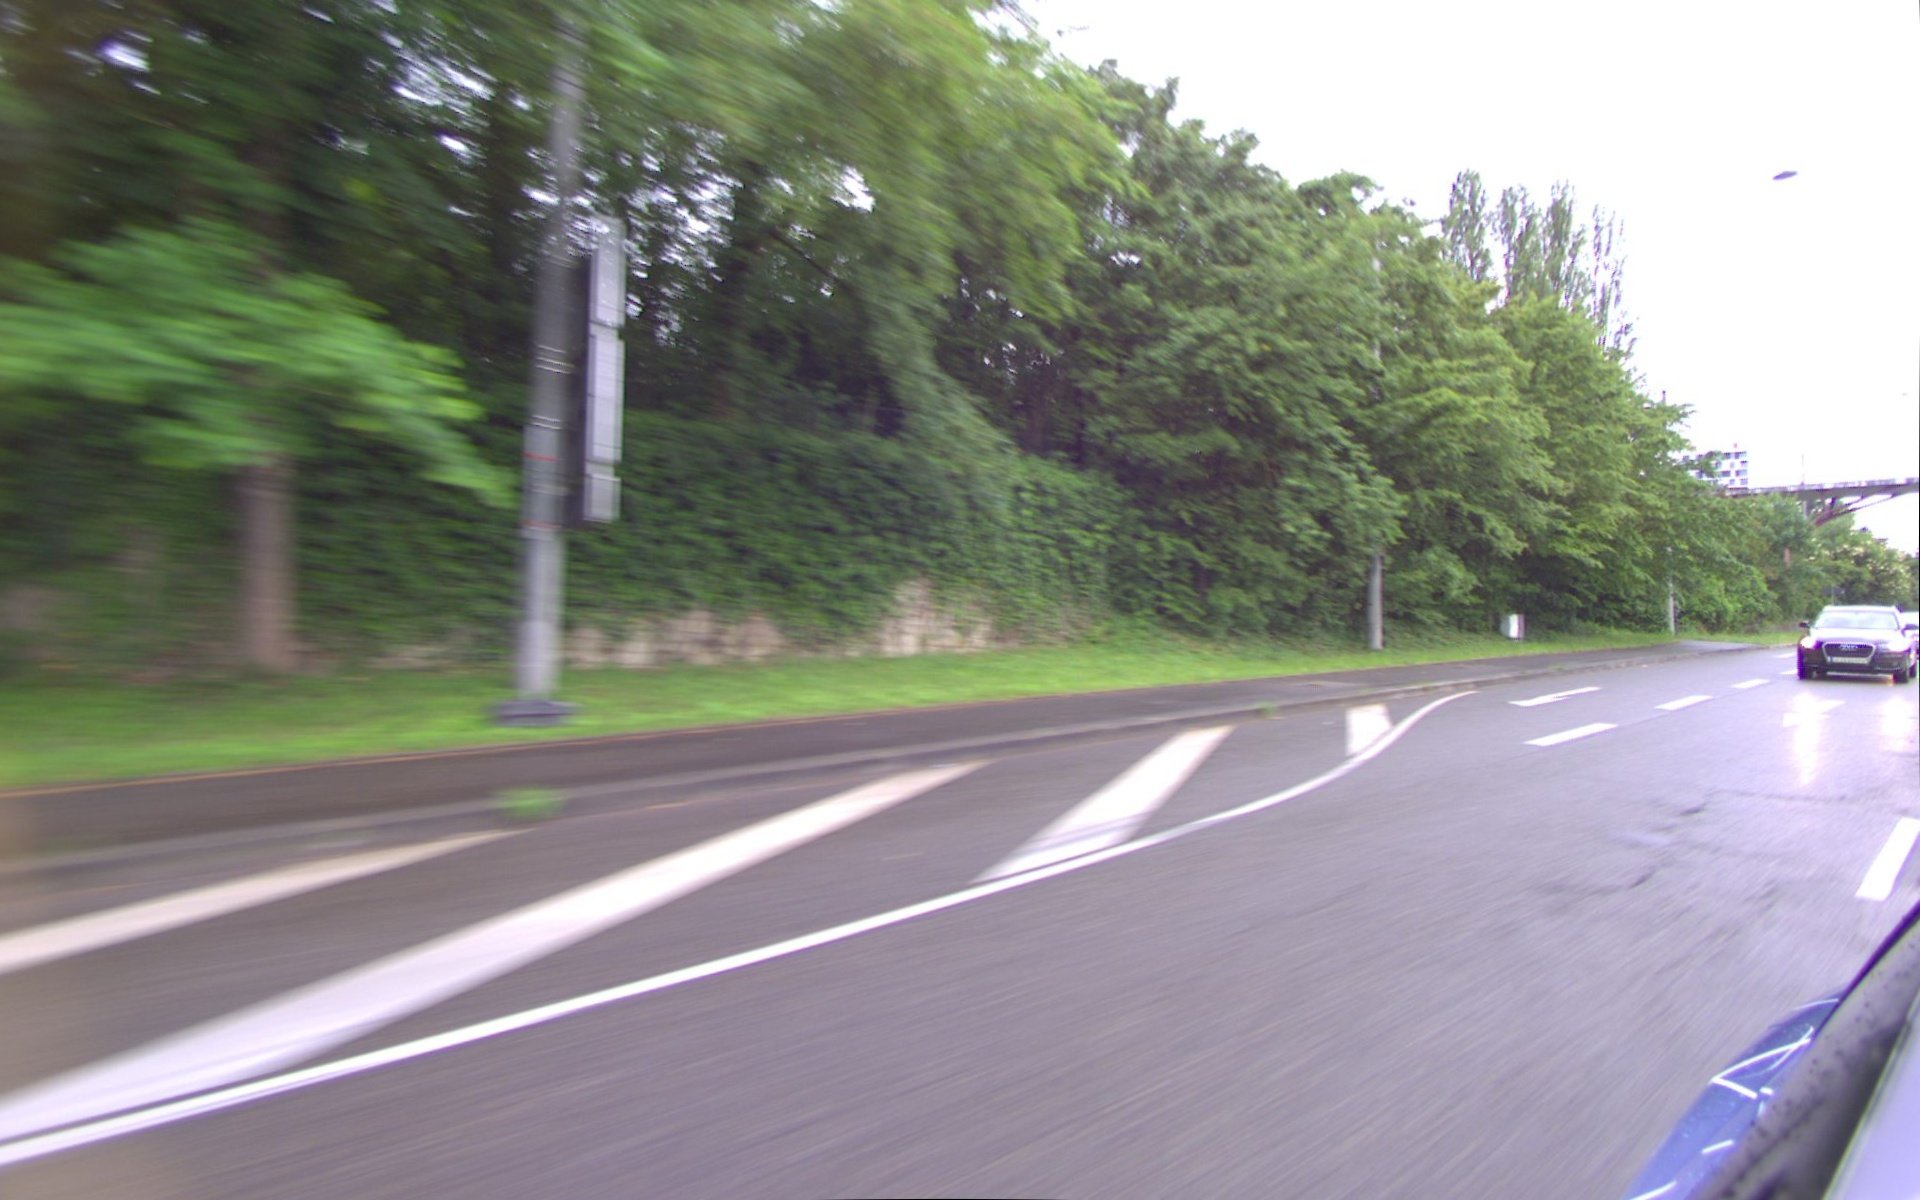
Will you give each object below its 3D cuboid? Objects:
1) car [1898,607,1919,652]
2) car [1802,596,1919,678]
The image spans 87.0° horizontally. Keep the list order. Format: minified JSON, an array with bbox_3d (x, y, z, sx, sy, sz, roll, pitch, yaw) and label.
[{"bbox_3d":[31.645,0.944,32.501,3.931,1.403,1.843,1,-2,-42],"label":"car"},{"bbox_3d":[19.962,0.745,22.137,4.207,1.621,1.924,1,0,-44],"label":"car"}]
